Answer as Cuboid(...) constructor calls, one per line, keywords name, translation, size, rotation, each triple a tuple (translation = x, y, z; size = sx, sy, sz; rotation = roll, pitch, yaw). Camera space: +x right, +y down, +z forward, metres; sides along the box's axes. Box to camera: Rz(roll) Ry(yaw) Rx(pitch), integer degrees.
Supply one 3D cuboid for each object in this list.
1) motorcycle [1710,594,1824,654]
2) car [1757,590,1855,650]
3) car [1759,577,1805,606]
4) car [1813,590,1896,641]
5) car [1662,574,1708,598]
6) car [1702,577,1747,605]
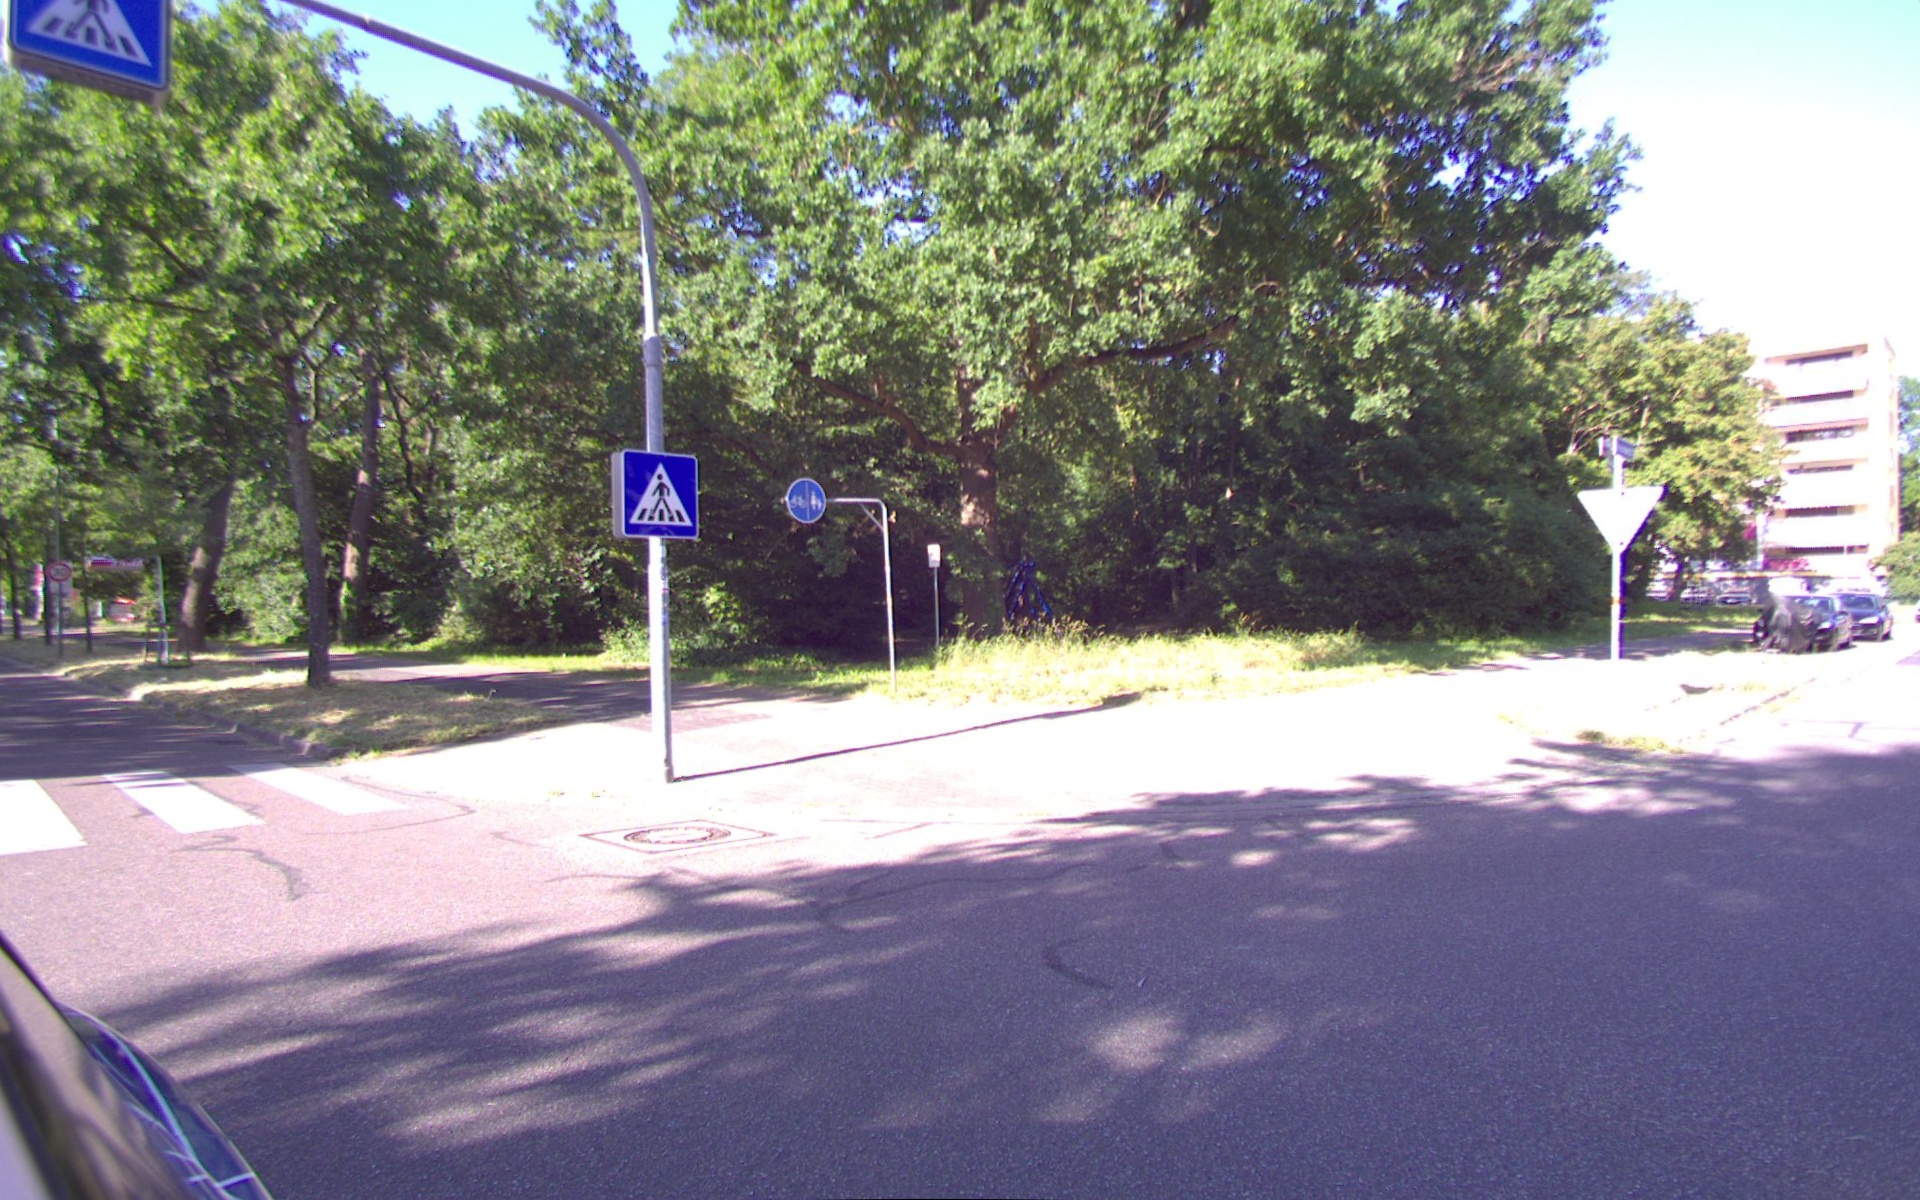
Cuboid(name="motorcycle", translation=(18.774, 0.561, 23.584), size=(1.944, 1.354, 0.672), rotation=(-1, 0, 16))
Cuboid(name="car", translation=(21.917, 0.485, 26.180), size=(3.535, 1.402, 1.561), rotation=(-1, 0, -44))
Cuboid(name="car", translation=(51.743, -0.566, 63.654), size=(3.779, 1.757, 1.764), rotation=(-1, 0, -44))
Cuboid(name="car", translation=(26.796, 0.447, 30.274), size=(3.535, 1.402, 1.561), rotation=(-1, 0, -44))
Cuboid(name="car", translation=(48.240, -0.951, 67.289), size=(3.779, 1.538, 1.802), rotation=(-1, 0, -44))
Cuboid(name="car", translation=(49.952, -0.586, 66.120), size=(3.779, 1.757, 1.764), rotation=(-1, 0, -44))
